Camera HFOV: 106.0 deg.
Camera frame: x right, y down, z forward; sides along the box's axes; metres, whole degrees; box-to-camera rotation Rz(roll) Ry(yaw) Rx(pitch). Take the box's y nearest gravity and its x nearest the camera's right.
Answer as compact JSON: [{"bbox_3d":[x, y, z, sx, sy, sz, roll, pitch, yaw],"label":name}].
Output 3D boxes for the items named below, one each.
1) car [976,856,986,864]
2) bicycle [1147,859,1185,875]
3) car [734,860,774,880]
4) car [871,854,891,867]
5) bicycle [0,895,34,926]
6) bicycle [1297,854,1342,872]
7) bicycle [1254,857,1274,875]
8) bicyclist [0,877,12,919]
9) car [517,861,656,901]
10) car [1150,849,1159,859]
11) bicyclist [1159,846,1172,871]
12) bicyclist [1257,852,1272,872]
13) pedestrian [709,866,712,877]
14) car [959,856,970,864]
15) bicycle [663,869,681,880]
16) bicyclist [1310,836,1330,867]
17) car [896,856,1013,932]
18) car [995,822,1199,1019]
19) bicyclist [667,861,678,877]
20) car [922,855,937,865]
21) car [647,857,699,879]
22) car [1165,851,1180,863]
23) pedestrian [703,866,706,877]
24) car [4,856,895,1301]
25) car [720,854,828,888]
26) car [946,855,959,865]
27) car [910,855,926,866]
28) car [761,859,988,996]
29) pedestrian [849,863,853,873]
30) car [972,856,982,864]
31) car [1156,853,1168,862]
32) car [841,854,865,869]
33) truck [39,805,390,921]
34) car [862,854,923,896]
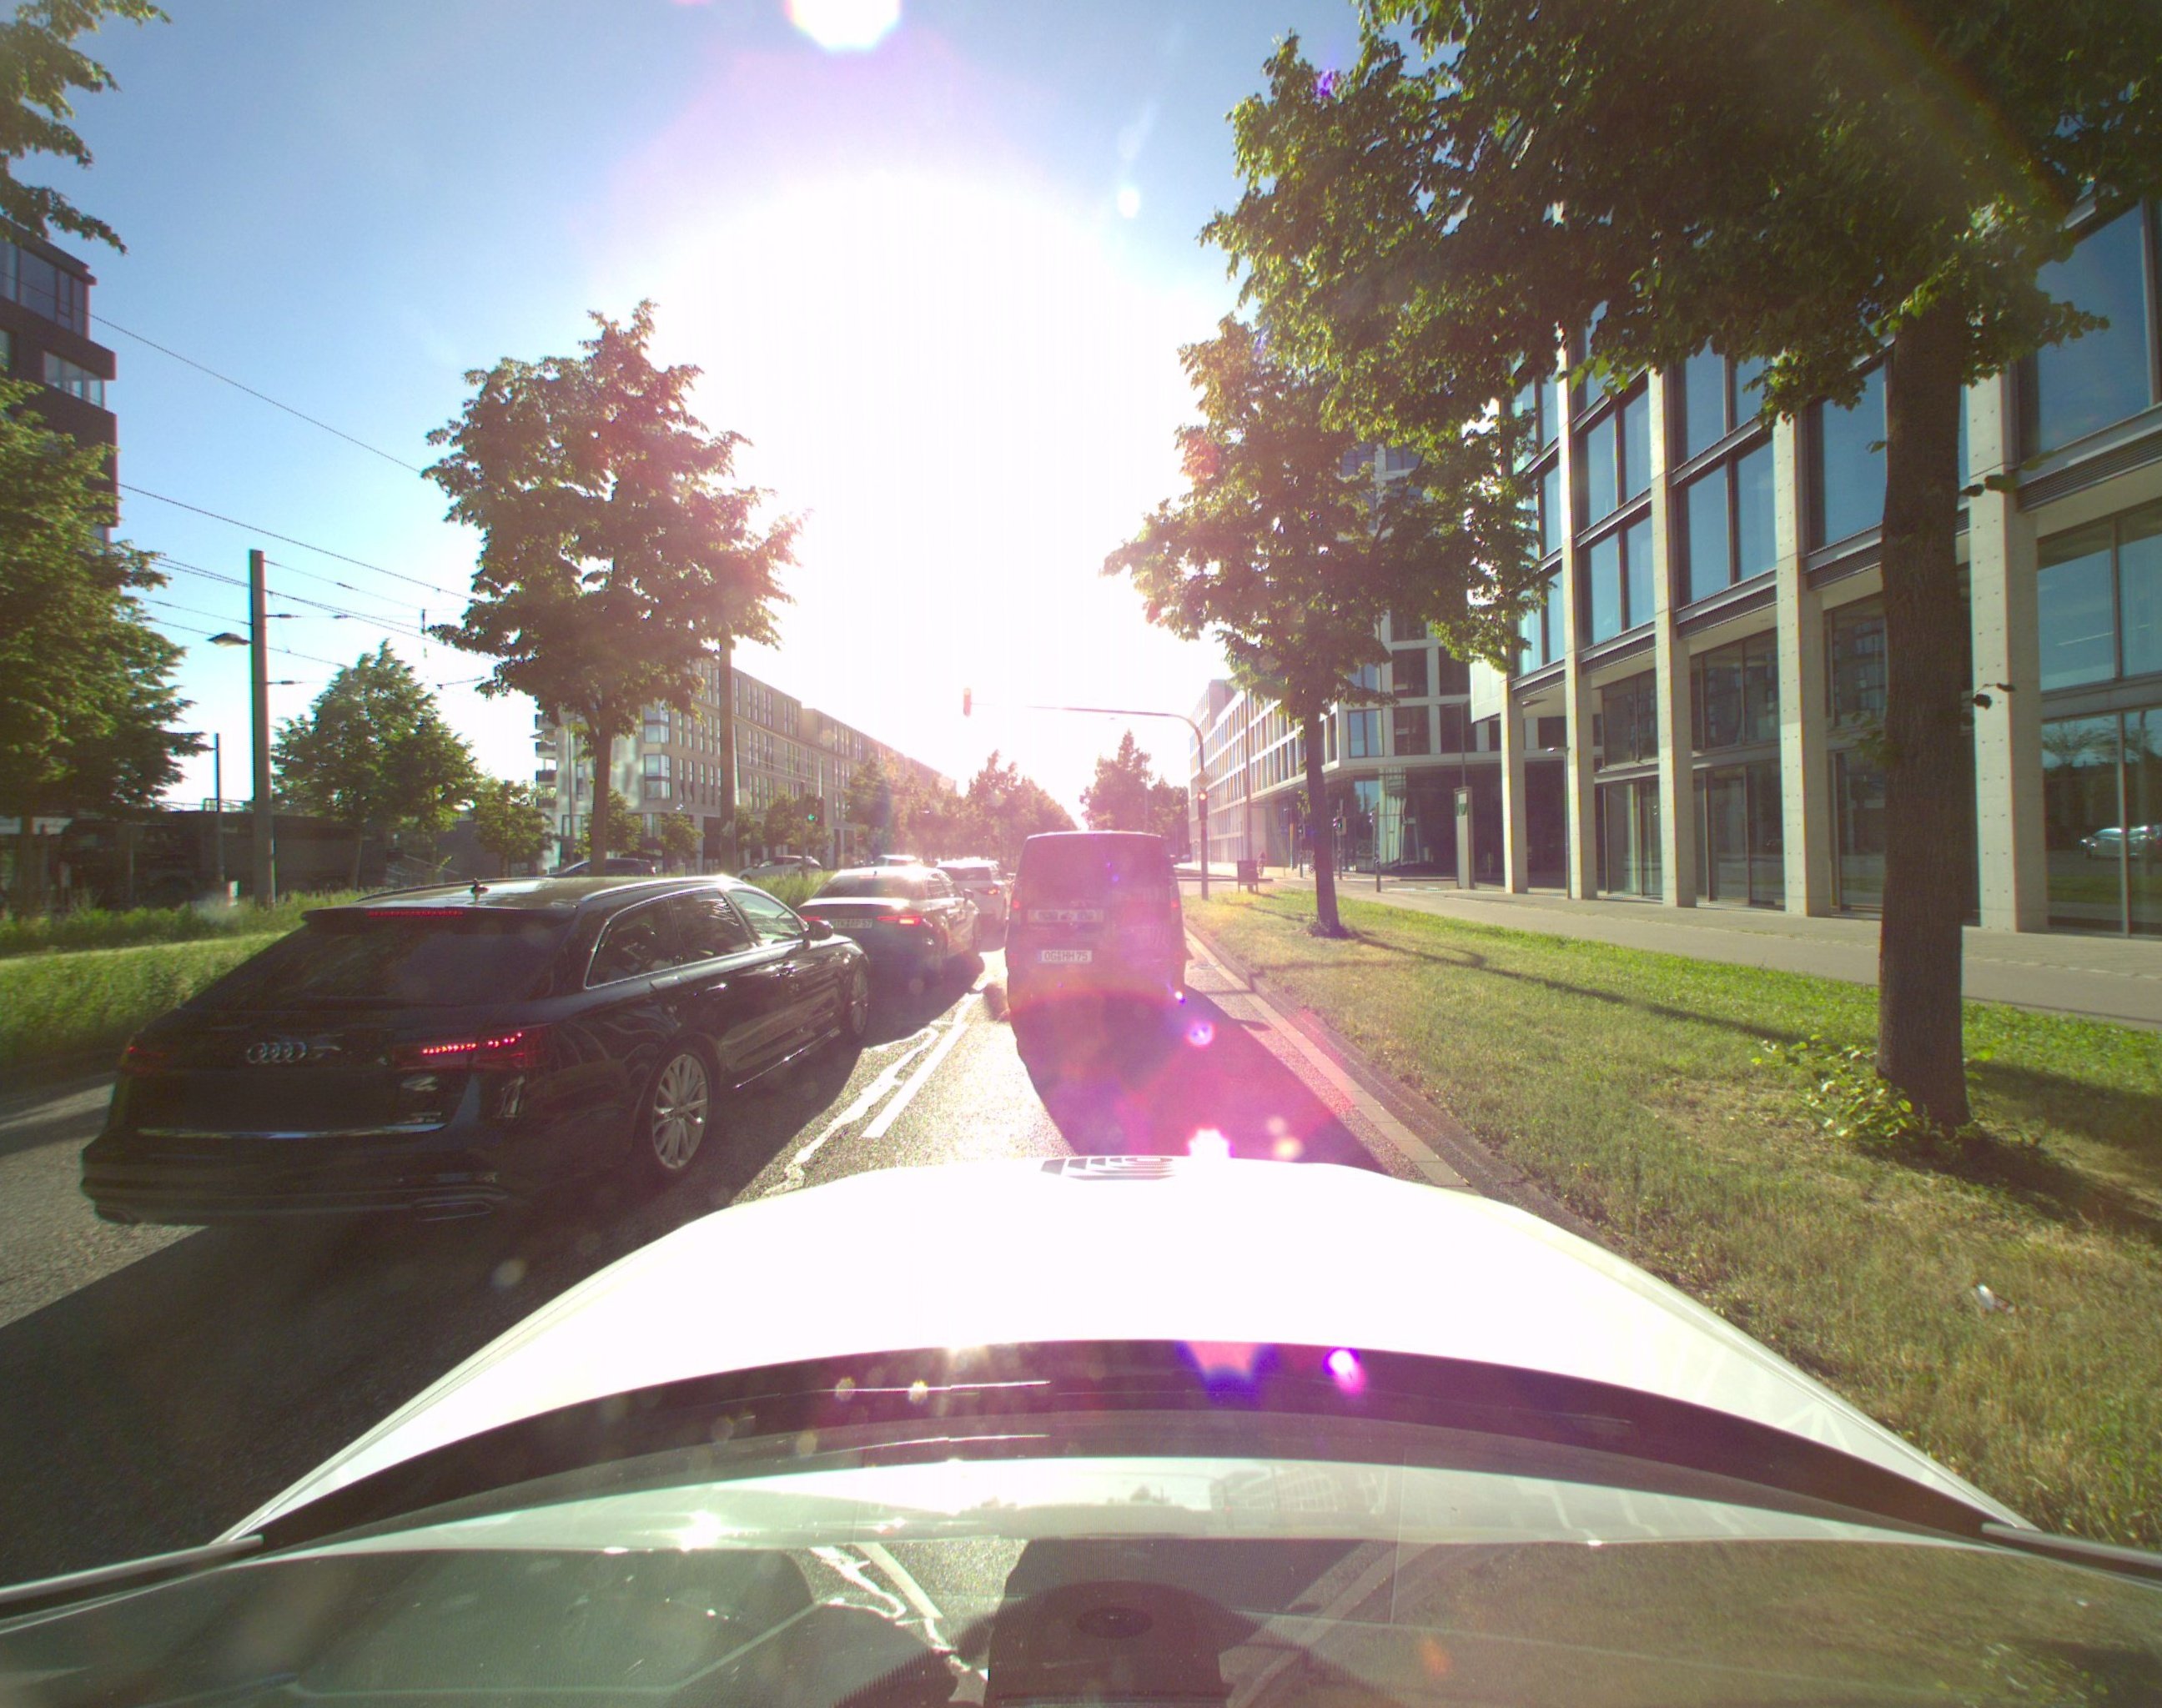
[{"bbox_3d":[-27.436,1.574,223.814,1.986,2.013,4.002,-1,0,2],"label":"car"},{"bbox_3d":[6.650,0.992,63.835,2.929,1.190,0.818,-1,0,3],"label":"bicycle"},{"bbox_3d":[-31.799,1.537,79.246,1.986,1.814,4.372,-1,0,2],"label":"car"},{"bbox_3d":[-30.754,0.990,125.141,1.986,2.013,4.002,-1,0,2],"label":"car"},{"bbox_3d":[-36.941,1.949,27.650,0.475,1.035,1.757,-1,0,2],"label":"bicycle"},{"bbox_3d":[15.917,0.590,54.488,0.821,1.190,2.918,-1,0,-38],"label":"bicycle"},{"bbox_3d":[11.605,0.760,51.854,0.814,1.114,2.849,-1,0,4],"label":"bicycle"},{"bbox_3d":[-36.959,1.495,27.538,0.475,1.424,0.821,-1,0,2],"label":"bicyclist"},{"bbox_3d":[-20.393,1.062,33.742,1.782,1.447,4.595,-1,0,44],"label":"car"},{"bbox_3d":[17.896,0.030,198.179,1.986,2.497,4.988,-1,0,2],"label":"car"},{"bbox_3d":[6.621,0.334,63.855,0.994,1.947,0.818,-1,0,3],"label":"bicyclist"},{"bbox_3d":[11.644,0.488,51.768,0.814,1.275,0.683,-1,0,4],"label":"bicyclist"},{"bbox_3d":[-39.742,1.879,87.339,0.253,1.085,0.289,-1,0,1],"label":"pedestrian"},{"bbox_3d":[-28.605,1.428,200.184,1.986,2.013,4.002,-1,0,2],"label":"car"},{"bbox_3d":[-37.923,1.910,75.543,0.674,0.988,1.957,-1,0,2],"label":"bicycle"},{"bbox_3d":[15.964,-0.167,54.412,0.822,2.092,0.932,-1,0,-38],"label":"bicyclist"},{"bbox_3d":[-2.622,0.783,17.756,1.797,1.426,3.902,-1,0,2],"label":"car"},{"bbox_3d":[0.209,0.608,9.460,1.835,1.780,4.002,-1,0,2],"label":"car"},{"bbox_3d":[-37.927,1.385,75.648,0.674,1.529,0.714,-1,0,1],"label":"bicyclist"},{"bbox_3d":[-29.691,1.191,159.382,1.986,2.013,4.002,-1,0,2],"label":"car"},{"bbox_3d":[-31.047,1.040,62.075,1.758,1.520,4.002,-1,0,2],"label":"car"},{"bbox_3d":[14.331,0.432,128.007,1.986,1.782,4.002,-1,0,2],"label":"car"},{"bbox_3d":[-40.351,1.868,87.289,0.253,1.085,0.260,-1,0,1],"label":"pedestrian"},{"bbox_3d":[-2.760,0.784,5.314,1.868,1.484,4.967,-1,0,1],"label":"car"},{"bbox_3d":[-14.083,0.772,37.358,4.514,1.447,1.814,-1,0,21],"label":"car"},{"bbox_3d":[-28.896,1.333,183.365,1.986,2.013,4.002,-1,0,2],"label":"car"},{"bbox_3d":[-30.105,1.135,150.285,1.986,2.013,4.002,-1,0,2],"label":"car"},{"bbox_3d":[-2.500,0.821,11.048,1.835,1.426,4.340,-1,0,2],"label":"car"},{"bbox_3d":[-38.946,2.383,137.881,0.466,1.744,0.480,-1,0,1],"label":"pedestrian"},{"bbox_3d":[-27.894,1.536,218.197,1.986,2.013,4.002,-1,0,2],"label":"car"},{"bbox_3d":[15.968,0.635,160.476,1.986,1.782,4.002,-1,0,2],"label":"car"},{"bbox_3d":[-30.881,0.991,110.596,1.986,2.013,4.002,-1,0,2],"label":"car"},{"bbox_3d":[-33.634,0.291,32.647,2.880,3.853,10.218,-1,0,2],"label":"truck"},{"bbox_3d":[-7.545,0.784,32.346,1.522,1.492,4.180,-1,1,-25],"label":"car"}]
